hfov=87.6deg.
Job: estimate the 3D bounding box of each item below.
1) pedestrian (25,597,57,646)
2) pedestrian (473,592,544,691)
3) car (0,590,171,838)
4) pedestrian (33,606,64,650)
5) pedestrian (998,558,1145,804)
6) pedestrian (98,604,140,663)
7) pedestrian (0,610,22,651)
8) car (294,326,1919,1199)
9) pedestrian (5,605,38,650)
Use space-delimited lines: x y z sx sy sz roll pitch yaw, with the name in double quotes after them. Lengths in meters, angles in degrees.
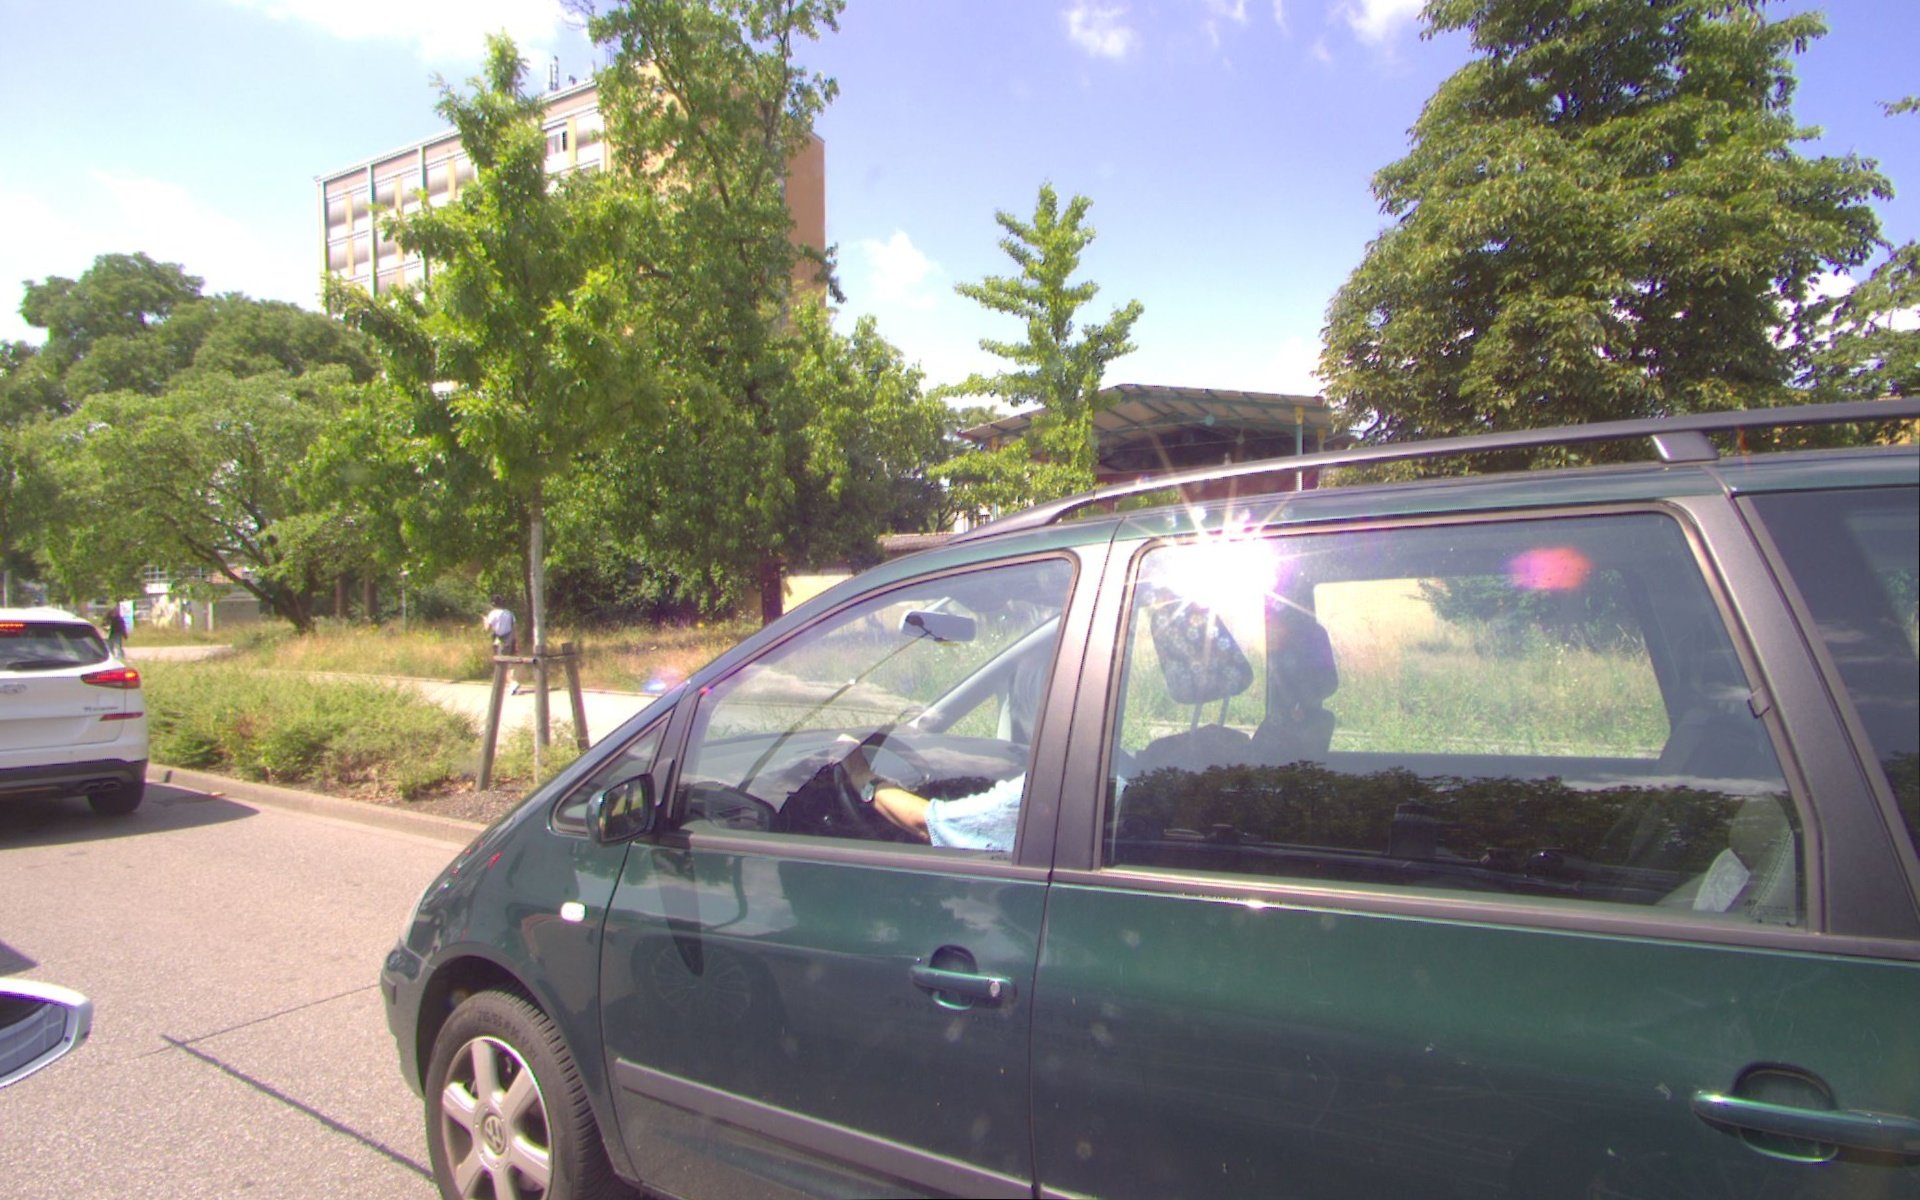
-34.862 0.805 37.988 0.805 1.813 0.756 0 0 36 "pedestrian"
-7.388 0.658 16.392 0.805 1.578 0.756 0 1 35 "pedestrian"
-8.152 0.791 7.989 3.919 1.701 1.810 0 0 34 "car"
-39.732 1.205 43.646 0.803 1.874 0.759 0 1 24 "pedestrian"
0.830 0.565 7.477 0.807 1.706 0.754 0 1 44 "pedestrian"
-24.647 0.971 29.337 0.805 1.677 0.756 0 1 36 "pedestrian"
-43.910 1.387 46.172 0.805 1.874 0.757 0 1 34 "pedestrian"
0.553 0.637 2.275 4.329 1.737 1.799 0 -2 32 "car"
-39.960 1.167 42.629 0.802 1.874 0.759 0 1 22 "pedestrian"
